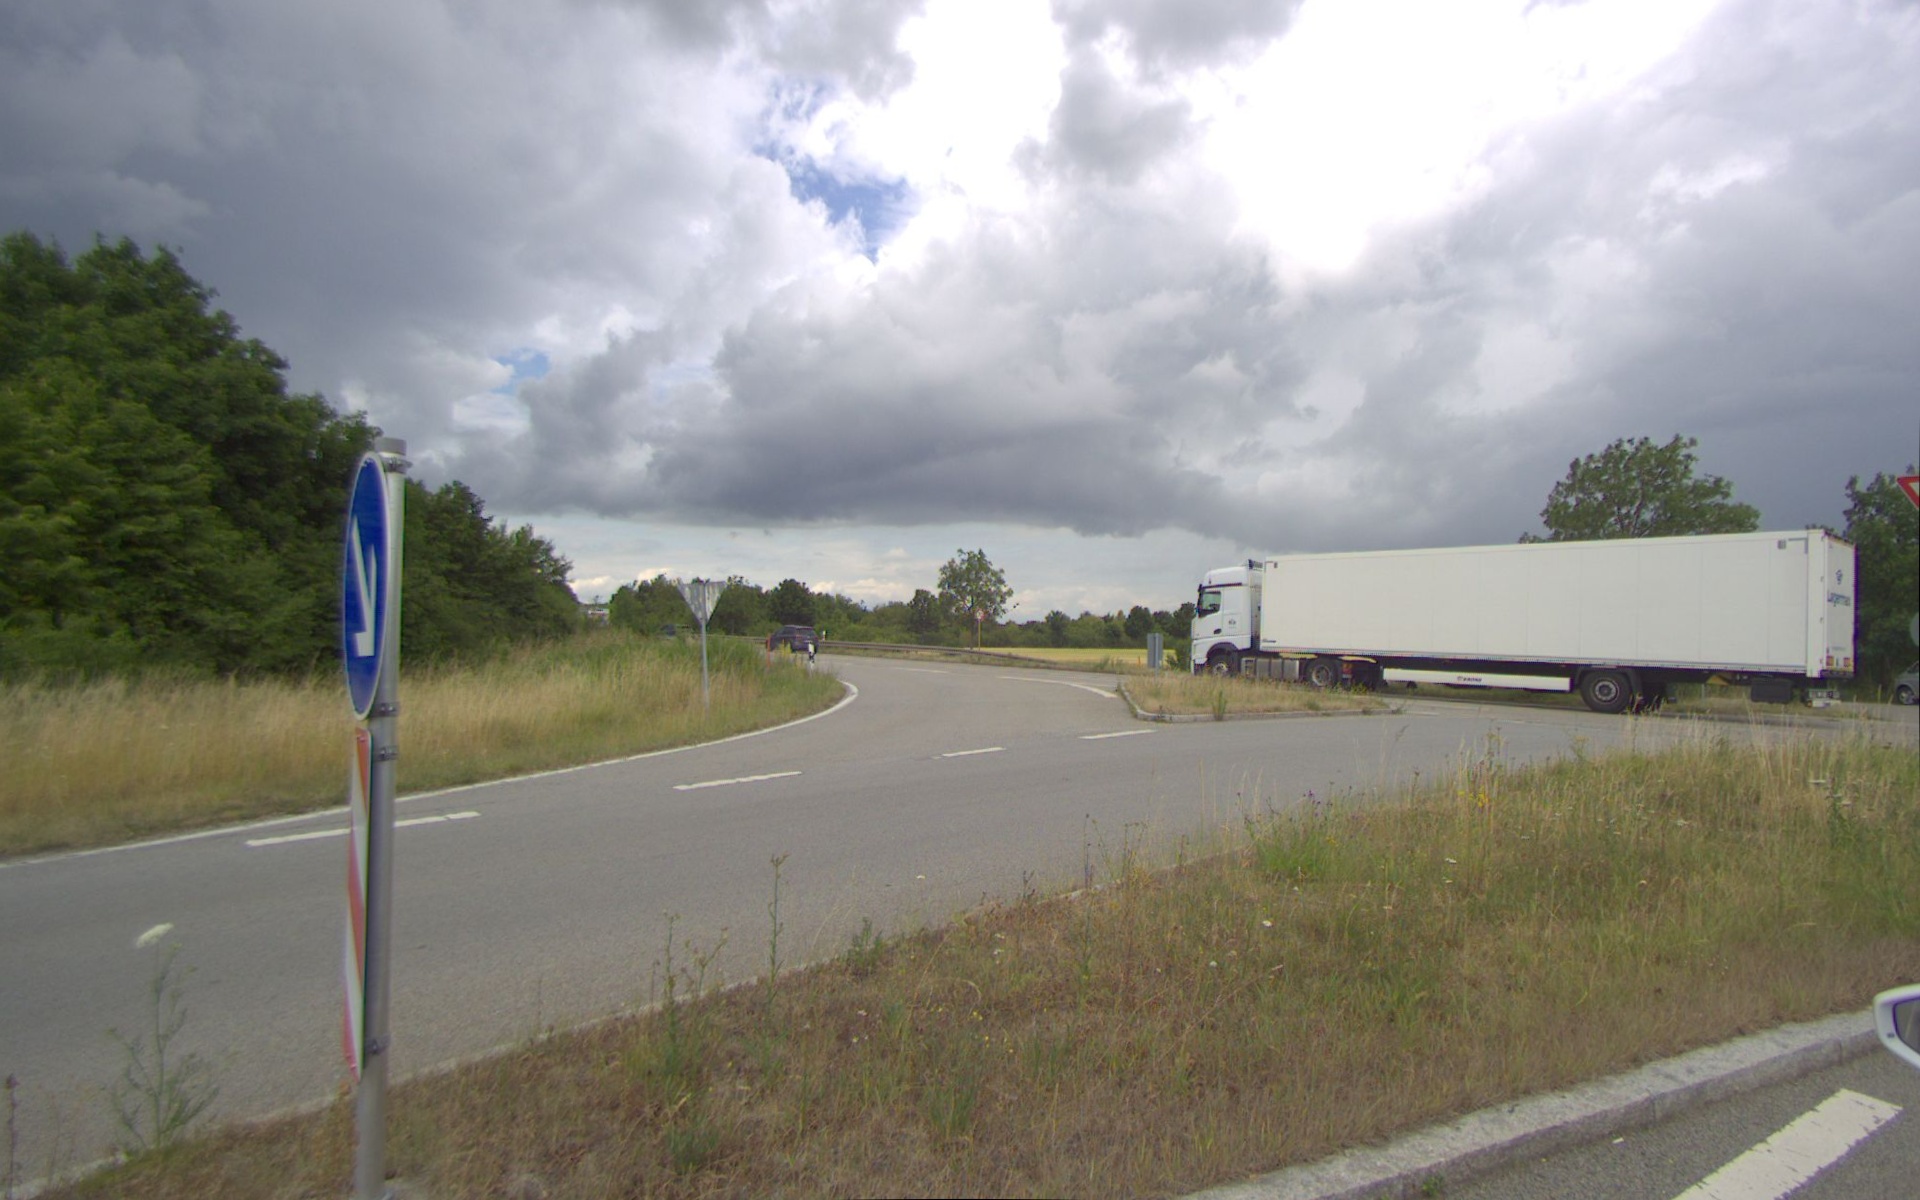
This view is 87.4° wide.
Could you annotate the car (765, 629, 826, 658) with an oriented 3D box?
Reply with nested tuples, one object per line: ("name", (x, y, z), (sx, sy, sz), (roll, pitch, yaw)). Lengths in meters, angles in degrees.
("car", (-9.725, 2.549, 59.080), (1.980, 1.622, 4.184), (1, -3, -35))

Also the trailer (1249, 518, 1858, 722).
("trailer", (14.289, 0.591, 26.490), (3.100, 4.066, 13.742), (4, -3, -37))

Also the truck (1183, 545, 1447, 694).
("truck", (10.791, 0.674, 31.248), (3.100, 4.066, 7.231), (4, -3, -37))

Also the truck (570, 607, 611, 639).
("truck", (-33.227, 2.080, 90.258), (2.045, 2.738, 5.986), (1, -2, -35))

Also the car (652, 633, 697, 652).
("car", (-20.644, 3.057, 72.595), (1.666, 1.362, 4.310), (1, -2, -37))

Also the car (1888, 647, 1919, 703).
("car", (36.509, 2.736, 35.878), (2.295, 2.040, 4.917), (0, -2, 3))
